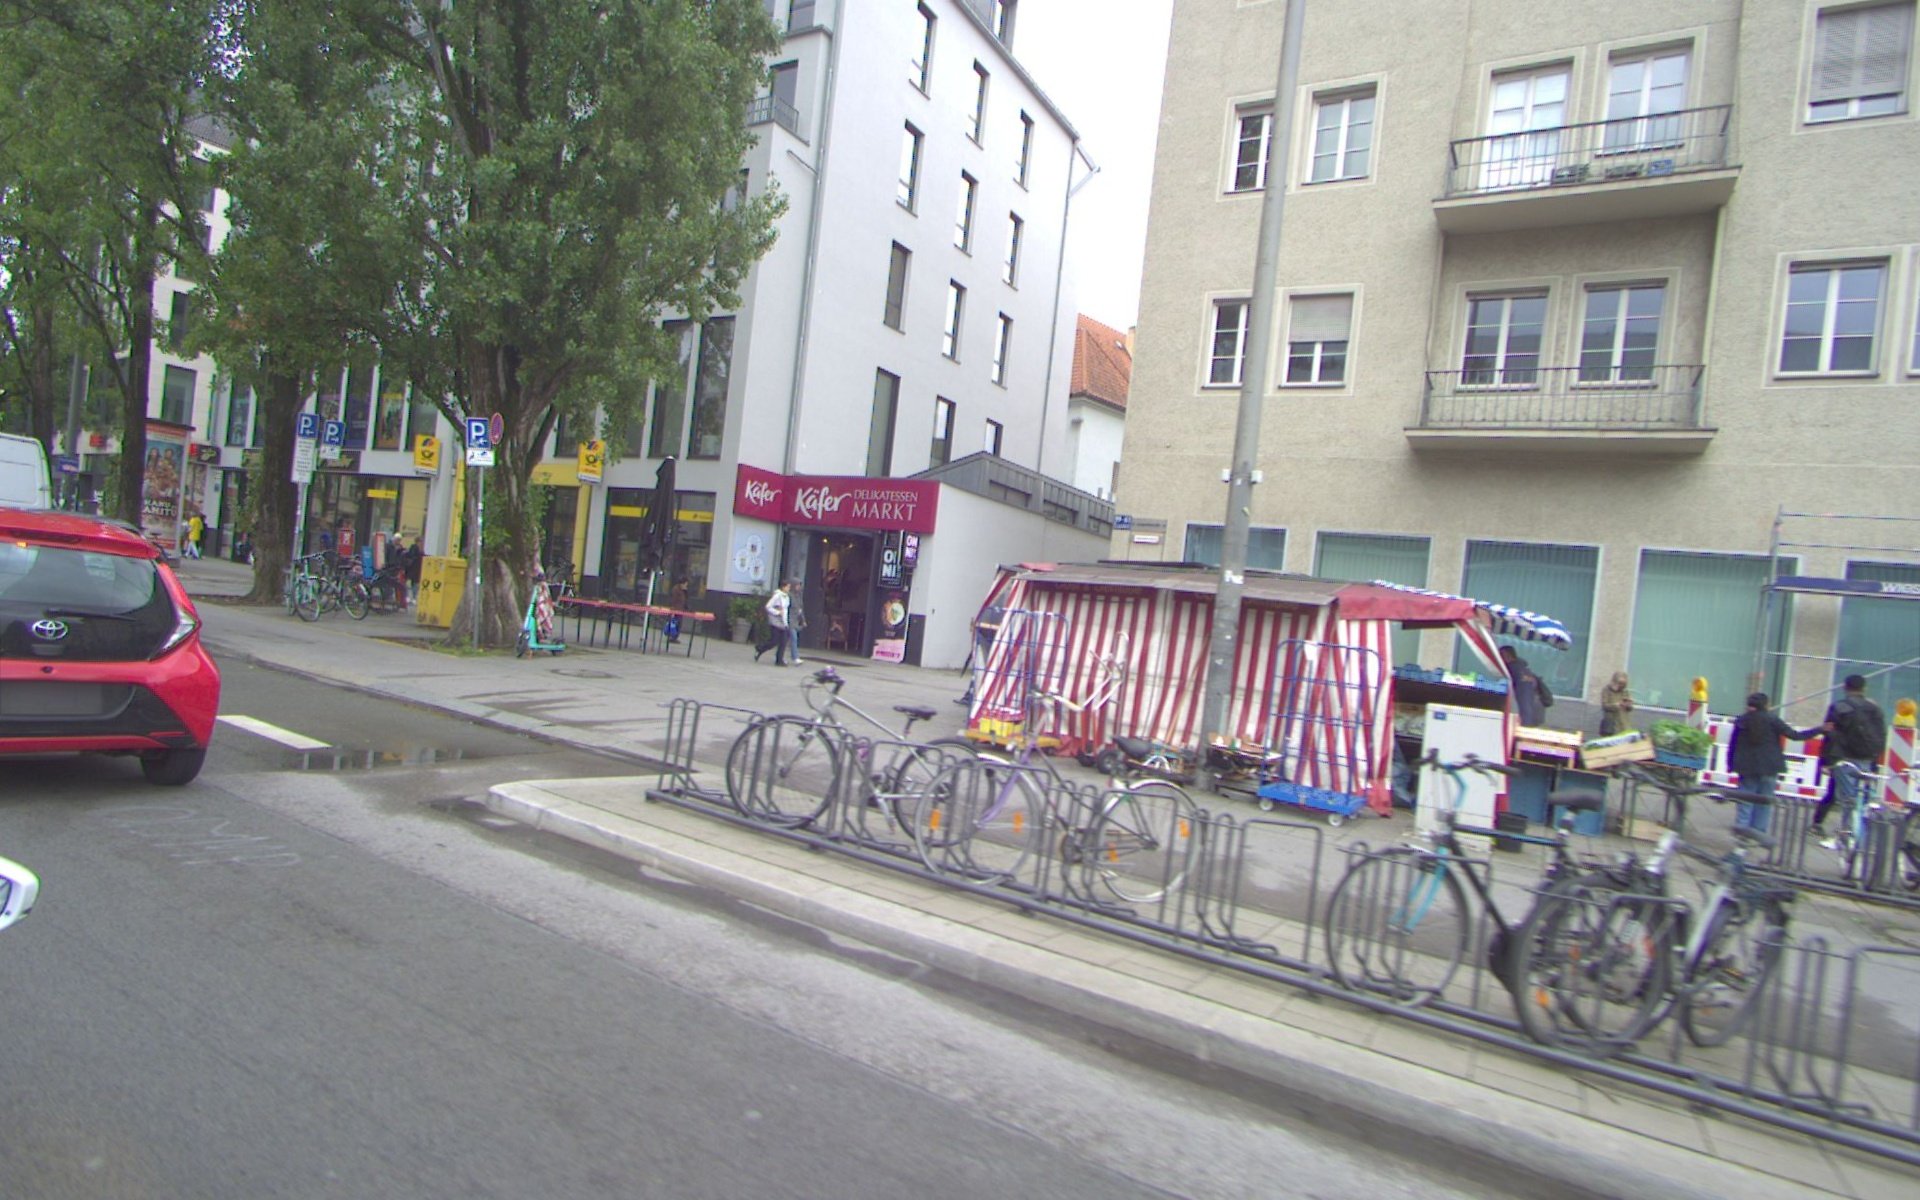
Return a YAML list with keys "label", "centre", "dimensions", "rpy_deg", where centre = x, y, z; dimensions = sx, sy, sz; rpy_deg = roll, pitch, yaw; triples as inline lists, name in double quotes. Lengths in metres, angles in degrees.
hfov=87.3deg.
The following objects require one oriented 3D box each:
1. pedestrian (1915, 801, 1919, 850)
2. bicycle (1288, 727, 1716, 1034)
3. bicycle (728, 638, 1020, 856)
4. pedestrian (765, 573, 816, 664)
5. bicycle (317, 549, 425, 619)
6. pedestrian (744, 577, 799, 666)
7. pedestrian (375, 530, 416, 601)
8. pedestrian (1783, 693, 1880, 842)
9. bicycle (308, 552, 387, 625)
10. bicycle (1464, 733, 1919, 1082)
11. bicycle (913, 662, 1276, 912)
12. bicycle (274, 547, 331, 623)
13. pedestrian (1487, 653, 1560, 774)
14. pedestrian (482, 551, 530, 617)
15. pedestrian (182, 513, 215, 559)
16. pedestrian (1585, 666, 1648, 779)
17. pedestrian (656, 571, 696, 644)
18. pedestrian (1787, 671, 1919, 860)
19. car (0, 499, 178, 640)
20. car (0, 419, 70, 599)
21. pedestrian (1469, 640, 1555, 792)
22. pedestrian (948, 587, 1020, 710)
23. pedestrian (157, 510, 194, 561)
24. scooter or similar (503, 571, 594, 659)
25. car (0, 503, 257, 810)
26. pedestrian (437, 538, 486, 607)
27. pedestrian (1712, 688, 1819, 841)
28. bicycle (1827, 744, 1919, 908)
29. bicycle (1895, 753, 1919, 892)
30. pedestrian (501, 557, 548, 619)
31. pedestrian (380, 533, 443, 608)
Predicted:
- label: "pedestrian"
  centre: [11.165, 2.082, 11.264]
  dimensions: [0.458, 1.558, 0.559]
  rpy_deg: [6, -1, 32]
- label: "bicycle"
  centre: [2.389, 1.234, 4.405]
  dimensions: [1.775, 1.066, 0.366]
  rpy_deg: [10, -2, -15]
- label: "bicycle"
  centre: [-0.524, 0.901, 6.160]
  dimensions: [1.556, 1.066, 0.544]
  rpy_deg: [11, -2, -21]
- label: "pedestrian"
  centre: [-3.337, 0.371, 19.803]
  dimensions: [0.588, 1.723, 0.578]
  rpy_deg: [7, 2, 39]
- label: "bicycle"
  centre: [-11.612, -0.298, 19.858]
  dimensions: [0.696, 1.174, 1.624]
  rpy_deg: [7, 0, 44]
- label: "pedestrian"
  centre: [-3.597, 0.411, 19.209]
  dimensions: [0.625, 1.604, 0.641]
  rpy_deg: [7, 2, 39]
- label: "pedestrian"
  centre: [-14.737, -0.895, 26.291]
  dimensions: [0.711, 1.746, 0.736]
  rpy_deg: [5, 1, -21]
- label: "pedestrian"
  centre: [10.054, 1.907, 11.626]
  dimensions: [0.543, 1.585, 0.653]
  rpy_deg: [7, 1, 26]
- label: "bicycle"
  centre: [-11.273, -0.216, 18.511]
  dimensions: [1.606, 1.174, 0.478]
  rpy_deg: [7, 0, 32]
- label: "bicycle"
  centre: [2.983, 1.241, 4.031]
  dimensions: [1.778, 1.117, 0.544]
  rpy_deg: [11, -2, -21]
- label: "bicycle"
  centre: [0.743, 1.019, 5.449]
  dimensions: [1.778, 1.066, 0.544]
  rpy_deg: [11, -2, -21]
- label: "bicycle"
  centre: [-11.518, -0.287, 17.605]
  dimensions: [0.476, 1.174, 1.803]
  rpy_deg: [6, 0, -42]
- label: "pedestrian"
  centre: [8.433, 1.680, 15.053]
  dimensions: [0.752, 1.671, 0.601]
  rpy_deg: [7, 1, 33]
- label: "pedestrian"
  centre: [-11.828, -0.406, 26.229]
  dimensions: [0.760, 1.605, 0.691]
  rpy_deg: [7, 1, 31]
- label: "pedestrian"
  centre: [-28.034, -2.342, 37.025]
  dimensions: [0.664, 1.596, 0.565]
  rpy_deg: [6, 1, 9]
- label: "pedestrian"
  centre: [10.076, 1.862, 15.457]
  dimensions: [0.598, 1.623, 0.465]
  rpy_deg: [7, 1, 28]
- label: "pedestrian"
  centre: [-6.187, 0.166, 21.905]
  dimensions: [0.640, 1.494, 0.757]
  rpy_deg: [7, -1, -20]
- label: "pedestrian"
  centre: [9.626, 1.742, 10.843]
  dimensions: [0.716, 1.852, 0.717]
  rpy_deg: [6, 1, 17]
- label: "car"
  centre: [-12.184, -0.497, 13.299]
  dimensions: [4.083, 1.470, 1.727]
  rpy_deg: [6, -2, 36]
- label: "car"
  centre: [-17.673, -1.713, 17.295]
  dimensions: [5.465, 2.773, 1.996]
  rpy_deg: [6, -2, 33]
- label: "pedestrian"
  centre: [6.702, 1.386, 12.205]
  dimensions: [0.717, 1.695, 0.794]
  rpy_deg: [7, 1, 31]
- label: "pedestrian"
  centre: [0.367, 0.737, 15.418]
  dimensions: [0.605, 1.793, 0.711]
  rpy_deg: [5, 2, -42]
- label: "pedestrian"
  centre: [-26.427, -2.165, 33.886]
  dimensions: [0.738, 1.578, 0.682]
  rpy_deg: [7, 1, 33]
- label: "scooter or similar"
  centre: [-6.171, 0.235, 15.162]
  dimensions: [0.393, 1.223, 1.470]
  rpy_deg: [6, 1, 14]
- label: "car"
  centre: [-5.960, 0.150, 5.897]
  dimensions: [3.537, 1.463, 1.668]
  rpy_deg: [6, -2, 32]
- label: "pedestrian"
  centre: [-12.867, -0.704, 25.976]
  dimensions: [0.785, 1.670, 0.691]
  rpy_deg: [7, 1, 31]
- label: "pedestrian"
  centre: [8.969, 1.798, 11.233]
  dimensions: [0.718, 1.547, 0.677]
  rpy_deg: [7, 1, 33]
- label: "bicycle"
  centre: [7.784, 1.859, 8.542]
  dimensions: [0.404, 1.117, 1.628]
  rpy_deg: [6, 1, 36]
- label: "bicycle"
  centre: [8.332, 1.919, 8.394]
  dimensions: [0.403, 1.117, 1.629]
  rpy_deg: [6, 1, 33]
- label: "pedestrian"
  centre: [-11.668, -0.307, 26.953]
  dimensions: [0.697, 1.555, 0.765]
  rpy_deg: [6, 1, 28]
- label: "pedestrian"
  centre: [-13.282, -0.712, 24.367]
  dimensions: [1.006, 1.657, 0.801]
  rpy_deg: [7, 1, 28]
